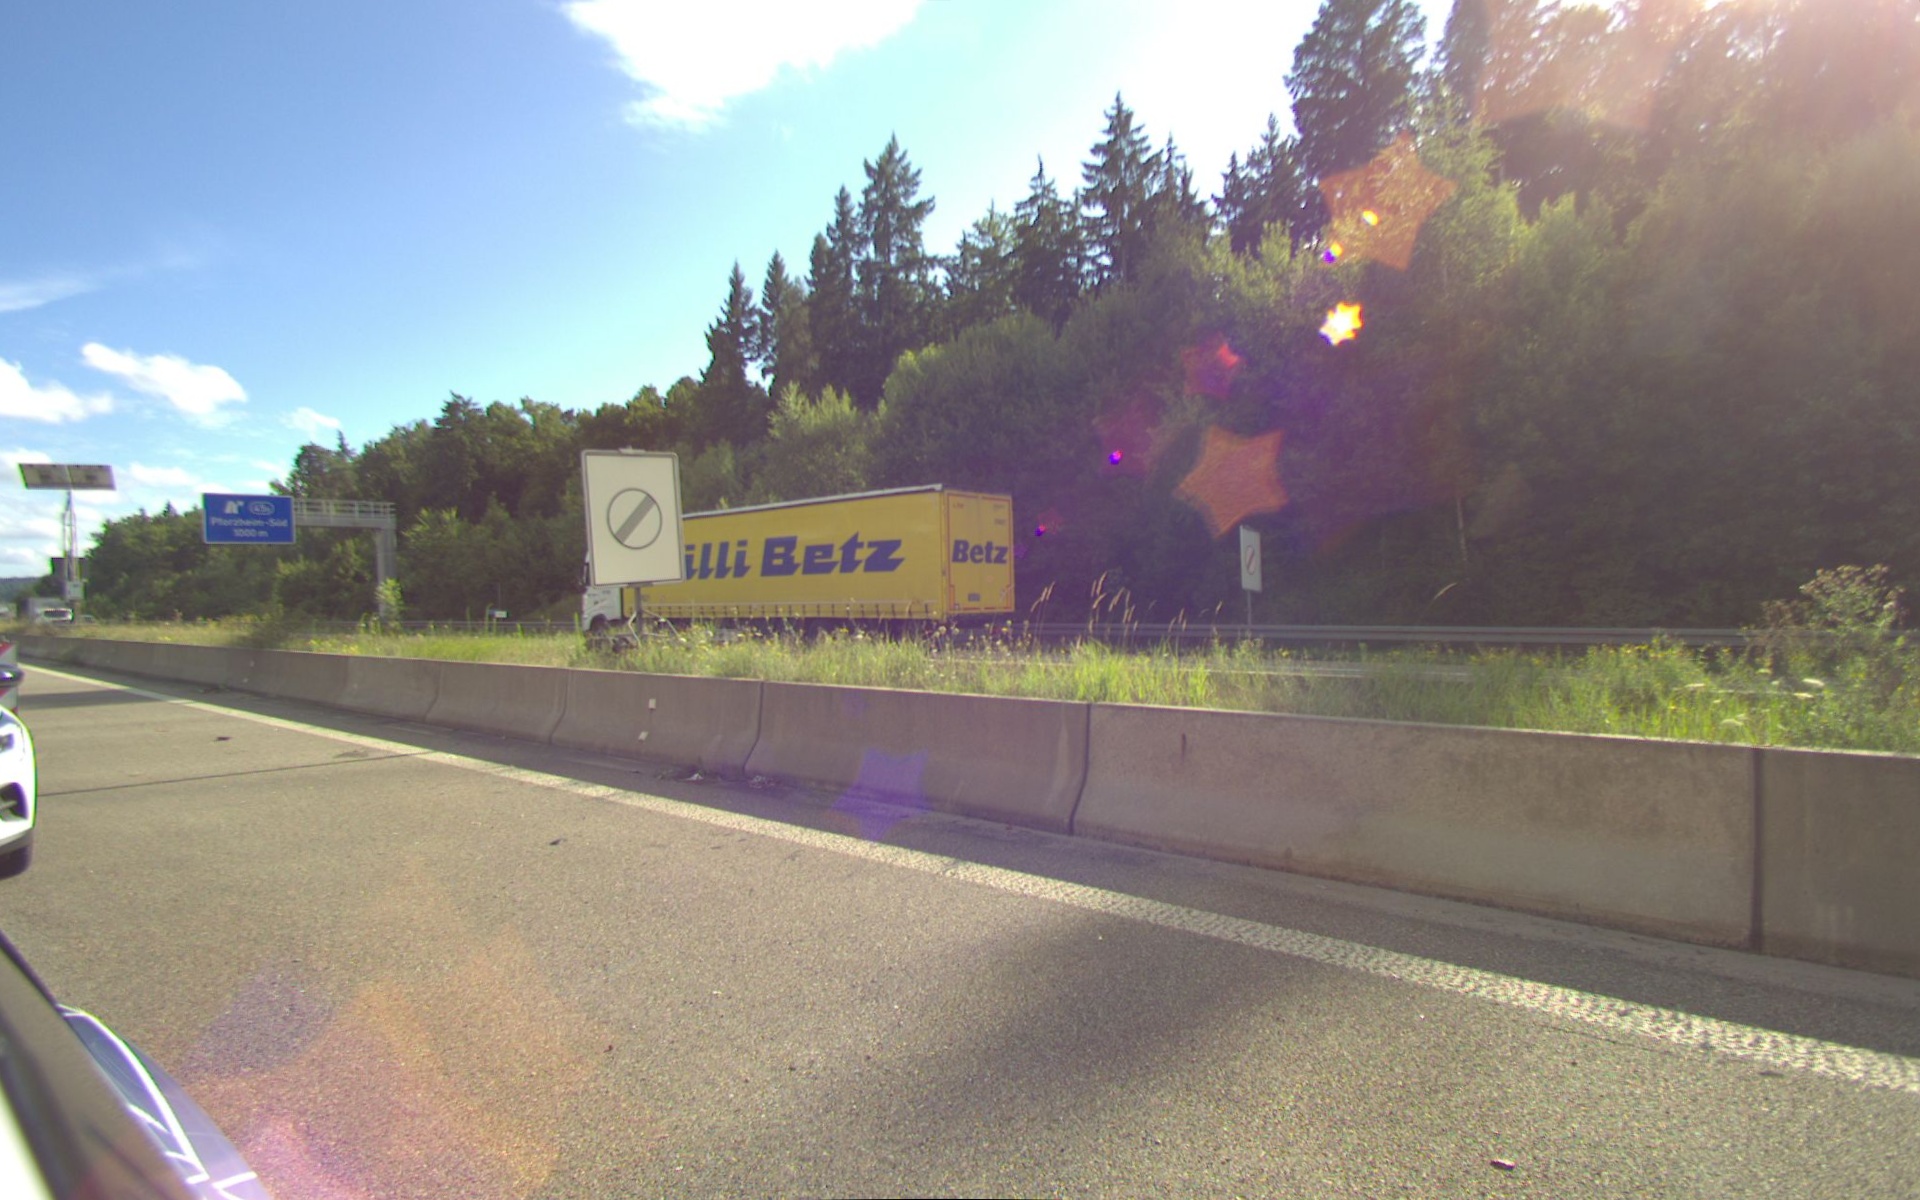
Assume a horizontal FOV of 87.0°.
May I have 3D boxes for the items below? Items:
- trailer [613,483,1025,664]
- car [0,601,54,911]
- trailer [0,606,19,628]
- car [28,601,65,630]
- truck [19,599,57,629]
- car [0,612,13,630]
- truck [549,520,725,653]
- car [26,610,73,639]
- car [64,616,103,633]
[{"bbox_3d":[-4.601,-0.540,27.868,13.934,3.952,2.798,-1,0,41],"label":"trailer"},{"bbox_3d":[-6.759,0.807,5.768,3.879,1.549,1.817,-1,0,40],"label":"car"},{"bbox_3d":[-173.629,3.101,184.182,8.484,3.953,2.762,-1,0,41],"label":"trailer"},{"bbox_3d":[-112.476,1.916,124.617,7.448,3.395,2.461,-1,0,41],"label":"car"},{"bbox_3d":[-127.766,1.913,140.226,10.181,4.022,2.771,-1,-1,41],"label":"truck"},{"bbox_3d":[-132.022,2.885,139.058,6.328,2.469,2.138,0,1,41],"label":"car"},{"bbox_3d":[-10.652,-0.395,33.146,5.946,3.938,2.797,-1,0,41],"label":"truck"},{"bbox_3d":[-66.621,1.777,74.046,4.829,2.029,1.973,-1,0,41],"label":"car"},{"bbox_3d":[-75.712,2.095,87.403,4.286,1.373,1.938,-1,0,41],"label":"car"}]
